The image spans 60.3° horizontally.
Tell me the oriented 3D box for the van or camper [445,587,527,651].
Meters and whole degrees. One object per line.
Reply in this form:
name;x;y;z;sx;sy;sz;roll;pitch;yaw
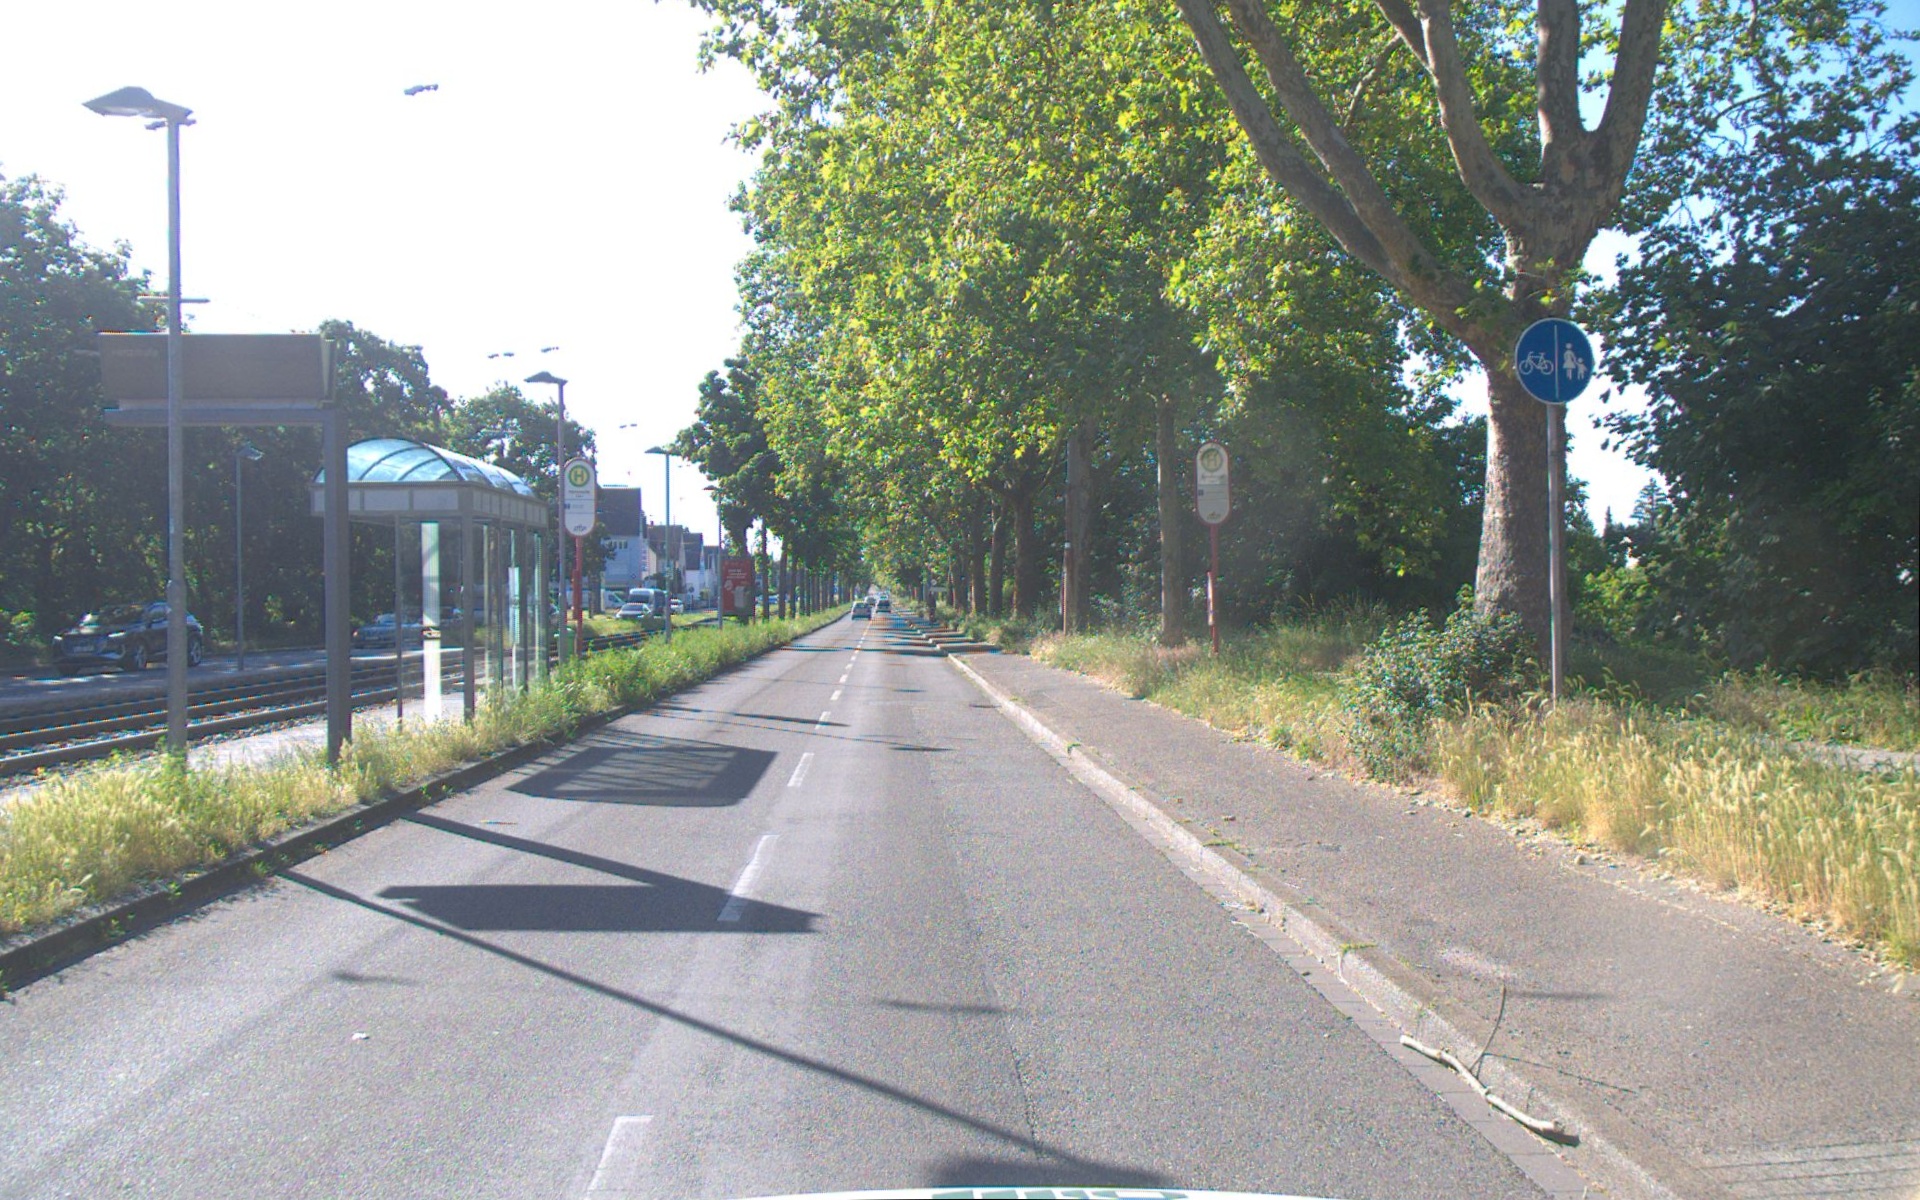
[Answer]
van or camper;-24.509;0.952;85.786;2.538;3.160;6.784;-1;0;-3

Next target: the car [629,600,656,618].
car;-27.495;0.786;143.441;1.709;1.522;3.591;-1;0;-1

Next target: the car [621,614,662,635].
car;-20.527;1.563;106.740;1.882;1.288;3.999;-1;0;-1

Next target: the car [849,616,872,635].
car;-8.075;2.055;134.856;1.830;1.512;3.553;0;0;-3

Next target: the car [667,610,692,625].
car;-27.741;1.708;163.678;1.882;1.463;3.999;-1;0;-1

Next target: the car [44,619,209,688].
car;-19.801;1.231;39.494;1.954;1.495;4.372;-1;0;-4

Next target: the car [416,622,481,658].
car;-24.320;1.876;78.746;1.881;1.589;3.999;-1;0;-1

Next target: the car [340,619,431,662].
car;-21.106;1.463;60.956;1.953;1.495;4.374;-1;0;-2

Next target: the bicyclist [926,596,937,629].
bicyclist;-1.574;0.694;90.649;0.524;1.801;0.712;-1;0;-5

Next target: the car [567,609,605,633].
car;-26.719;1.475;118.224;1.882;1.604;3.999;-1;0;-1

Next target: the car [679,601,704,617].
car;-28.726;0.942;177.178;1.953;1.672;4.000;-1;0;0

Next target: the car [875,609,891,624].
car;-8.230;1.747;177.794;1.715;1.632;3.748;0;0;-3

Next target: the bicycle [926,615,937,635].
bicycle;-1.557;1.371;90.602;0.525;1.085;1.432;-1;0;-5
